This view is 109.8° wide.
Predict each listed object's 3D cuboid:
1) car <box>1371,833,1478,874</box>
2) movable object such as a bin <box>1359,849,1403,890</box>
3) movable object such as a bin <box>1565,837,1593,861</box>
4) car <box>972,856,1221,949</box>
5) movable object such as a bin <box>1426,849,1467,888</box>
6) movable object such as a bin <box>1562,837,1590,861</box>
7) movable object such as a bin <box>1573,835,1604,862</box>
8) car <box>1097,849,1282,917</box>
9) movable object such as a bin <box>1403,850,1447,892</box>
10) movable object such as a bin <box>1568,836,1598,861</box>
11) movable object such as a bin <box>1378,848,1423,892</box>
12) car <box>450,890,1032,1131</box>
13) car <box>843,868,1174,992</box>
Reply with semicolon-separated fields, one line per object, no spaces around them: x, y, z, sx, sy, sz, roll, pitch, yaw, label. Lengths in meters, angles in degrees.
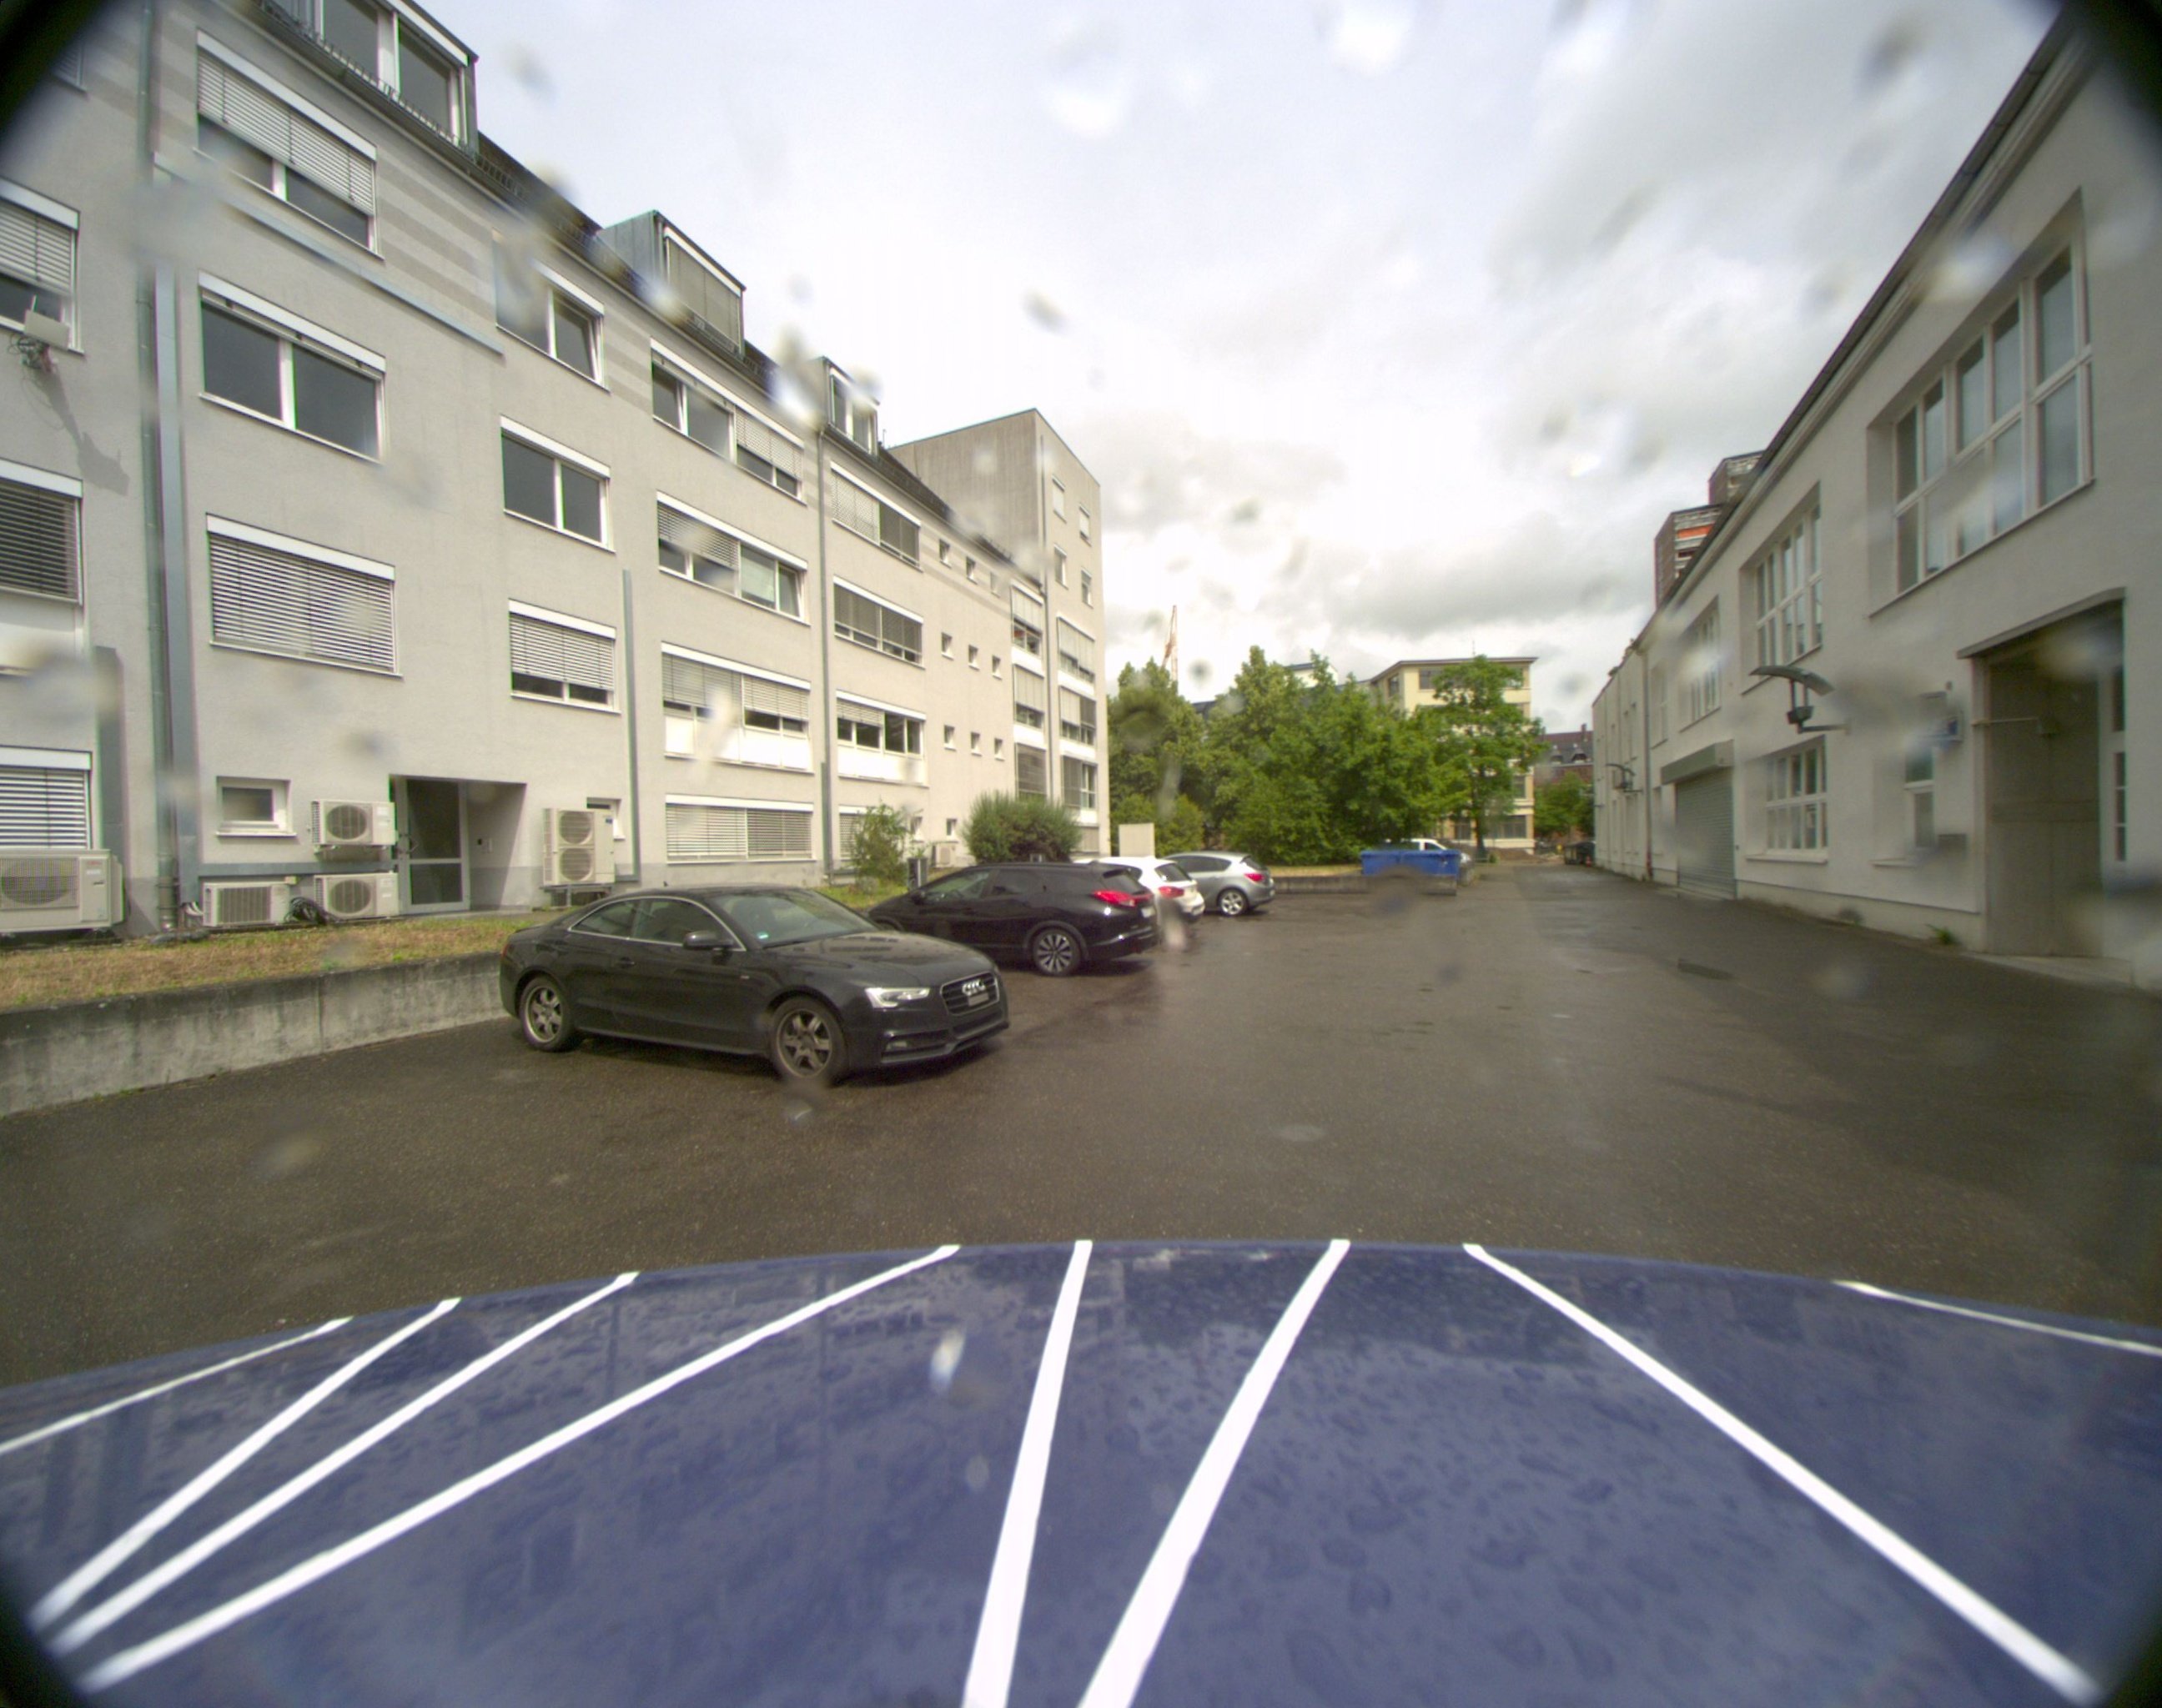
18.332;-0.017;40.569;4.940;2.002;2.004;-2;1;32;car
10.068;0.513;25.496;1.230;1.310;1.057;0;0;28;movable object such as a bin
31.946;-0.316;48.767;1.360;1.462;1.468;-3;-1;28;movable object such as a bin
0.284;0.780;13.788;4.101;1.447;1.836;0;1;25;car
12.616;0.496;26.235;1.175;1.309;1.057;-3;-1;28;movable object such as a bin
32.763;-0.318;50.322;1.410;1.462;1.564;-3;-1;28;movable object such as a bin
29.951;-0.313;44.863;1.360;1.462;1.368;-3;-1;28;movable object such as a bin
2.612;0.655;18.306;4.083;1.450;1.670;-1;2;25;car
11.270;0.545;24.867;1.230;1.310;1.057;0;0;28;movable object such as a bin
30.654;-0.310;46.445;1.360;1.462;1.368;-3;-1;28;movable object such as a bin
11.187;0.564;26.598;1.276;1.474;1.103;-3;-1;28;movable object such as a bin
-2.786;1.030;6.276;4.357;1.341;1.863;-1;0;22;car
-0.989;0.928;10.669;4.174;1.393;1.942;0;1;22;car
